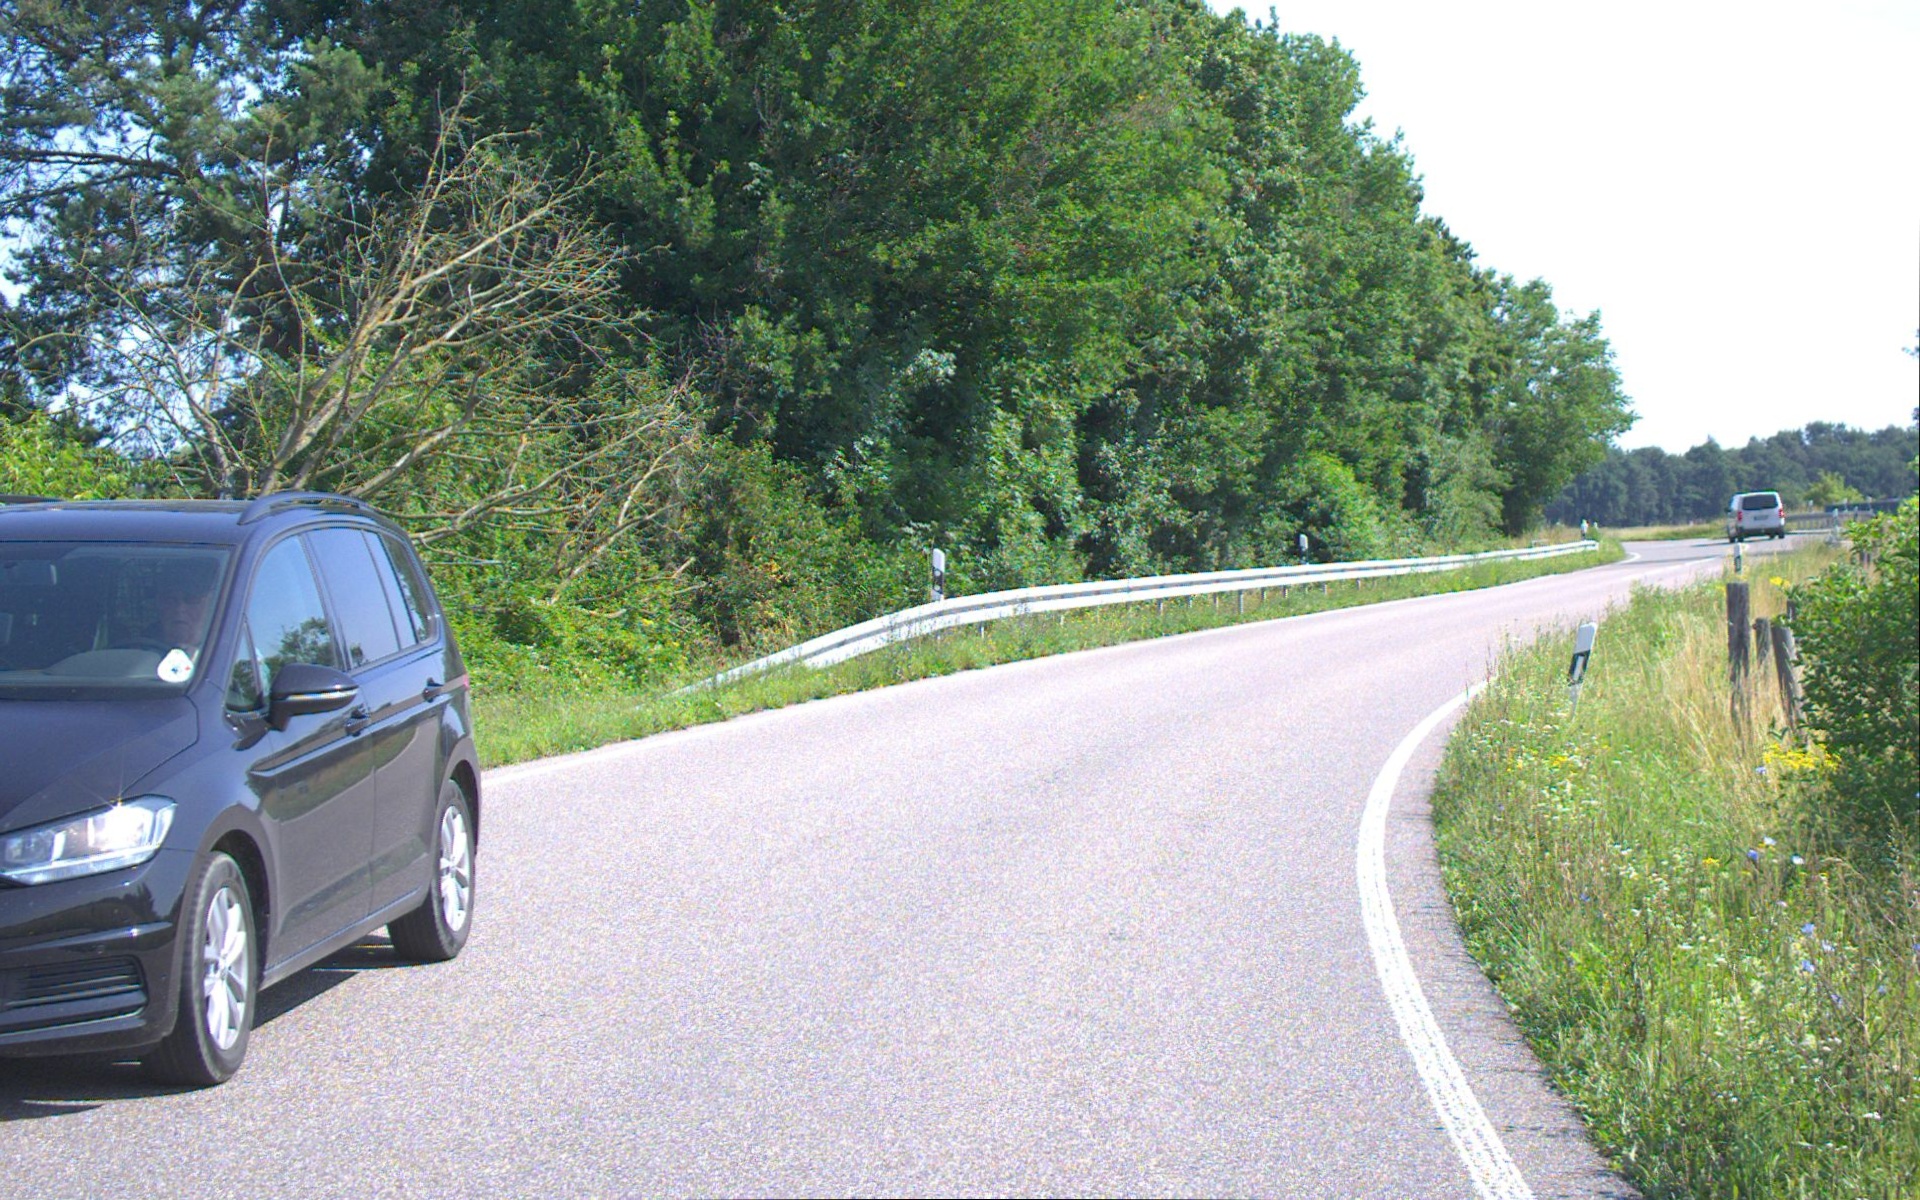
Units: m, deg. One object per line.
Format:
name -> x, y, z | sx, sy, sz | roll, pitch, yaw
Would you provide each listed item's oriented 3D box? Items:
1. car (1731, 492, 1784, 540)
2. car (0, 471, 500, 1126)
car -> 32.147, -3.374, 138.640 | 1.963, 1.796, 4.158 | 0, 0, 11
car -> -2.751, 0.459, 10.669 | 1.784, 1.626, 4.160 | 0, 1, 5
